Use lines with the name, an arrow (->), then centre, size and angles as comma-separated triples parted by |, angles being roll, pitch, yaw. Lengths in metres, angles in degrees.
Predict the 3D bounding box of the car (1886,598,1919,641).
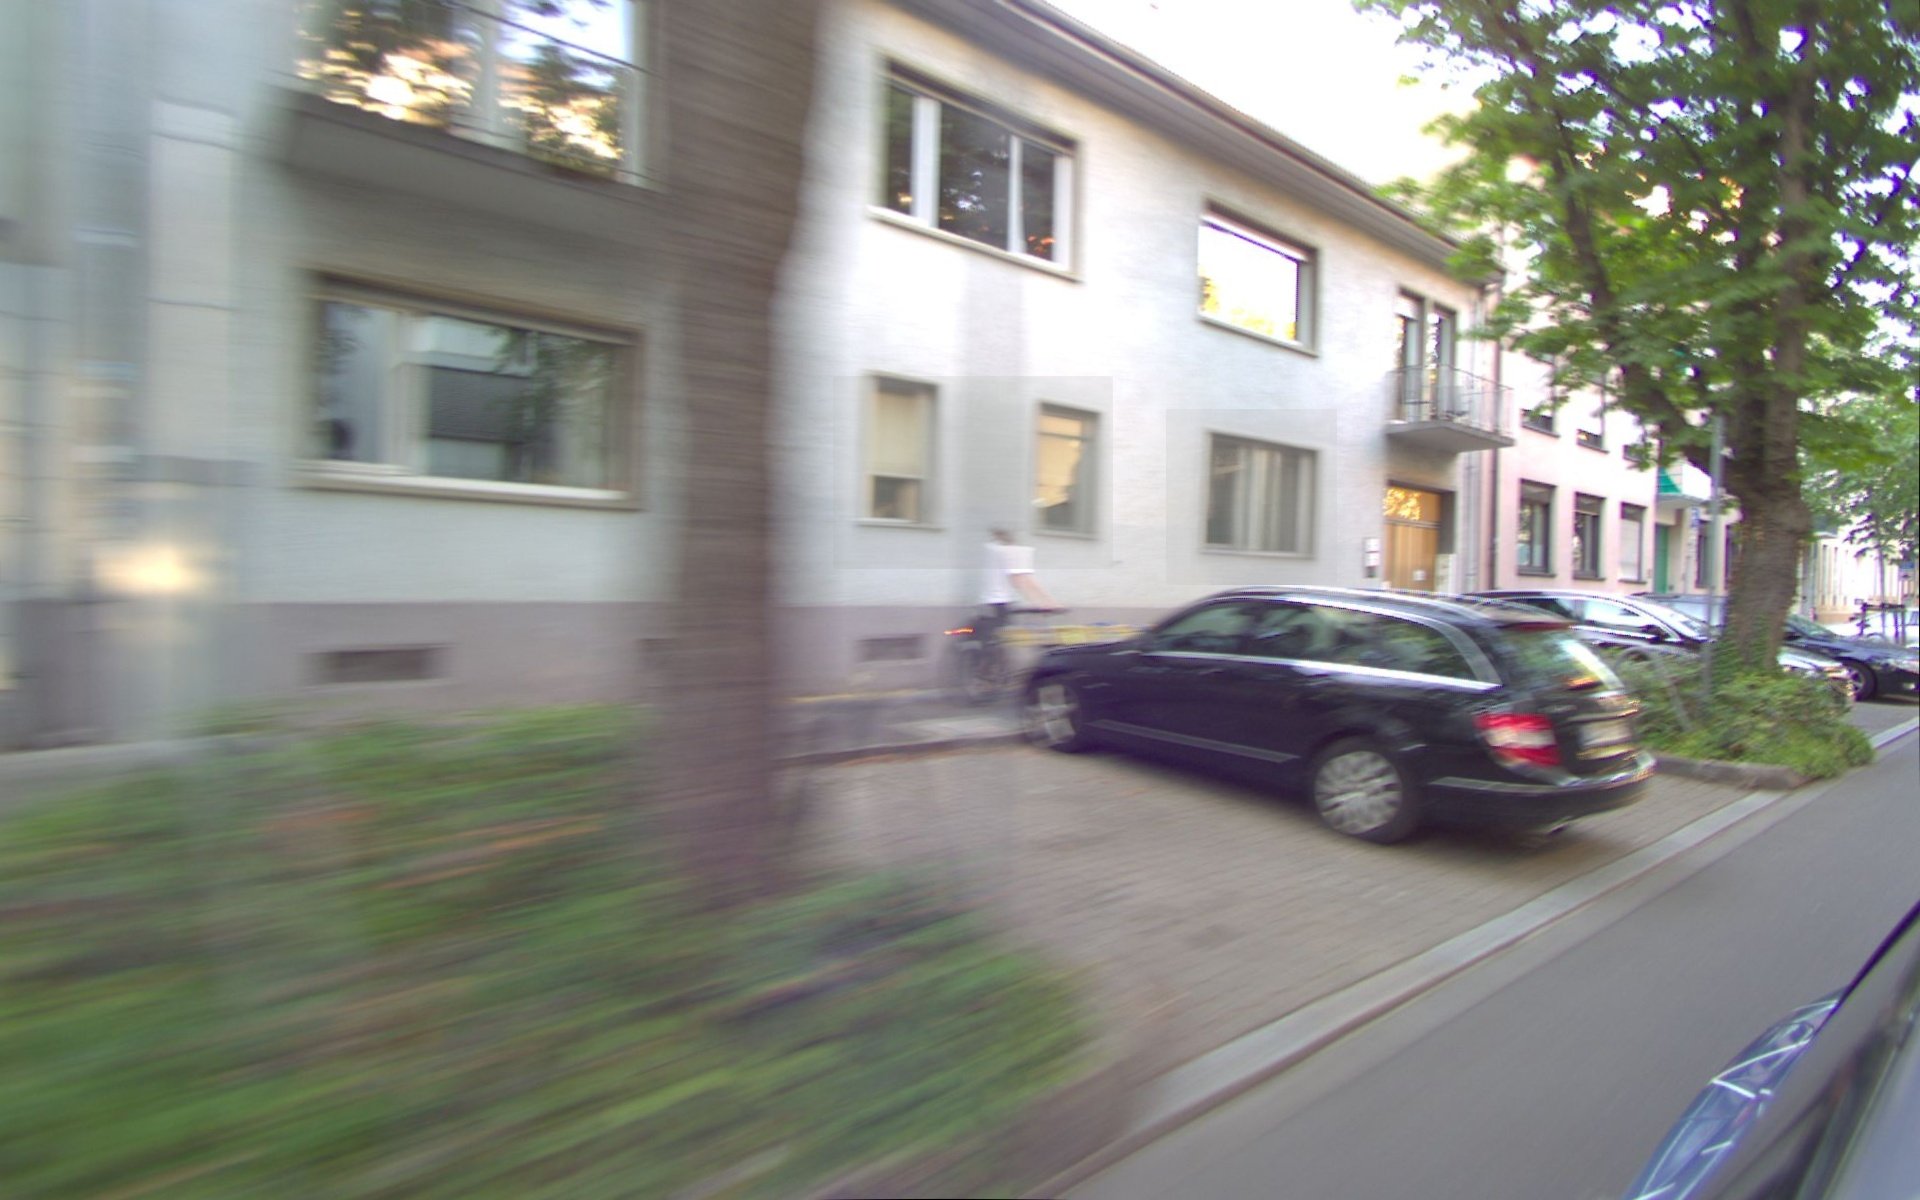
car -> 33.829, 0.720, 34.039 | 1.684, 1.428, 3.839 | 1, 2, -44

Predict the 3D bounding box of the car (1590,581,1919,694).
car -> 13.808, 0.538, 17.179 | 2.004, 1.465, 4.856 | 1, 3, -37

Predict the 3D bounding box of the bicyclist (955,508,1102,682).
bicyclist -> 0.696, -0.062, 10.207 | 0.971, 1.624, 1.118 | 2, 1, 45

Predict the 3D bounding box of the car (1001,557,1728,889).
car -> 2.452, 0.524, 7.302 | 1.973, 1.444, 4.477 | 0, 4, -35

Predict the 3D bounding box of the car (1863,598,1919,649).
car -> 30.603, 0.760, 30.458 | 1.952, 1.516, 4.886 | 1, 1, -39

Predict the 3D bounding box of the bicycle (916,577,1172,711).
bicycle -> 0.986, 0.384, 10.406 | 0.621, 1.178, 3.347 | 2, 1, 44

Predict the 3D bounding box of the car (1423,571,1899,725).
car -> 8.851, 0.466, 13.212 | 1.964, 1.405, 4.693 | 1, 4, -38

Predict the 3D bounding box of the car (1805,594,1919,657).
car -> 24.319, 0.654, 25.773 | 1.767, 1.509, 4.087 | 1, 1, -42
